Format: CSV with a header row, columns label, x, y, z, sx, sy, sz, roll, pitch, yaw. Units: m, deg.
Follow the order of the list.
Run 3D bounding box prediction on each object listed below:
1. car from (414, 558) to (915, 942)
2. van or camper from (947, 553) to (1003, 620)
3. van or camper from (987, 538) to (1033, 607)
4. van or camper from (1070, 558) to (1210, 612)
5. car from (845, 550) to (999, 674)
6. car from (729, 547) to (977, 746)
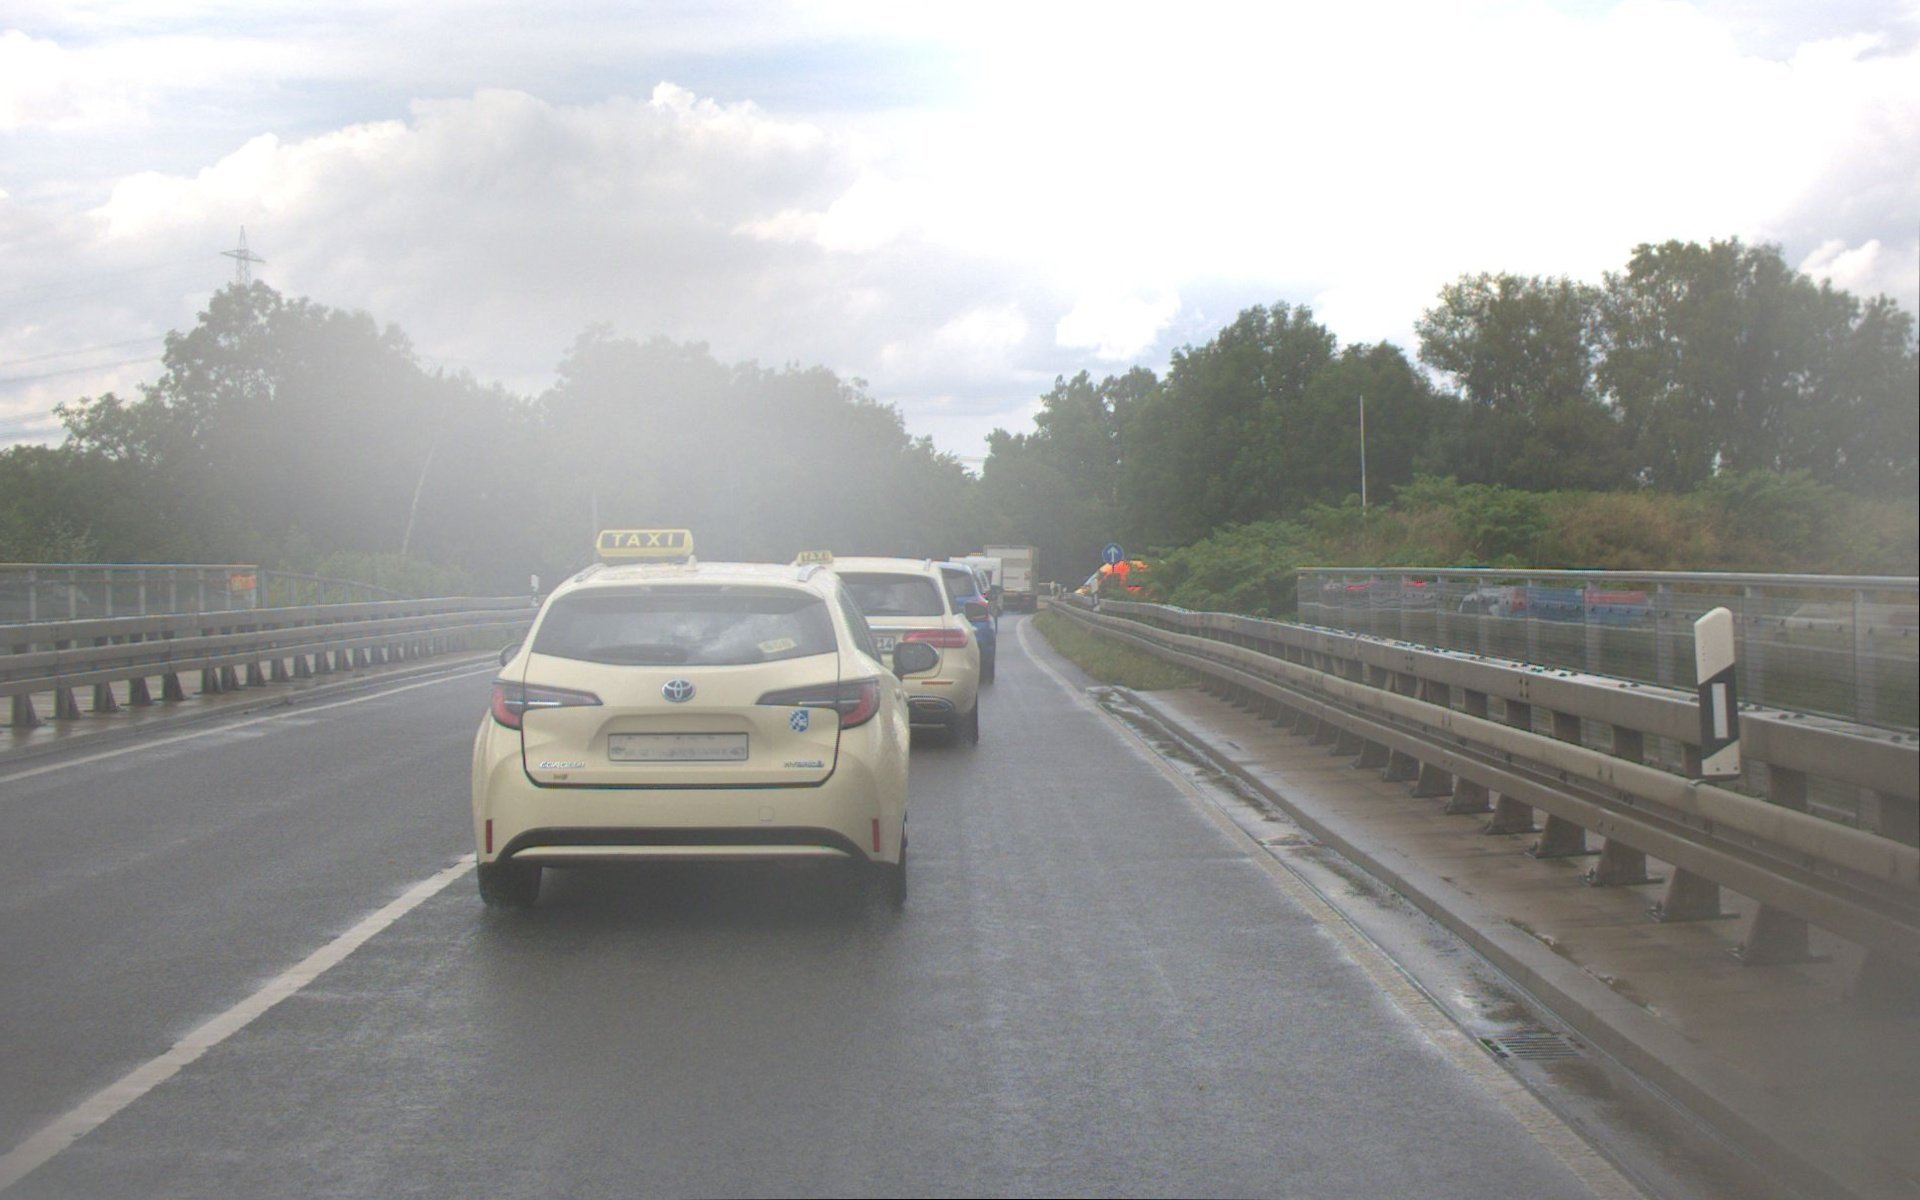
label,x,y,z,sx,sy,sz,roll,pitch,yaw
car,-1.152,0.546,15.165,1.854,1.389,4.171,1,1,0
van or camper,0.701,-0.648,151.822,2.333,2.854,6.306,1,1,1
van or camper,2.664,-1.483,180.925,2.333,3.550,6.306,1,1,1
van or camper,7.777,-0.663,148.893,5.676,2.234,2.021,1,1,-14
car,-0.470,0.117,43.796,1.854,1.438,4.171,1,1,0
car,-0.818,0.319,28.011,1.854,1.438,4.171,1,1,0
